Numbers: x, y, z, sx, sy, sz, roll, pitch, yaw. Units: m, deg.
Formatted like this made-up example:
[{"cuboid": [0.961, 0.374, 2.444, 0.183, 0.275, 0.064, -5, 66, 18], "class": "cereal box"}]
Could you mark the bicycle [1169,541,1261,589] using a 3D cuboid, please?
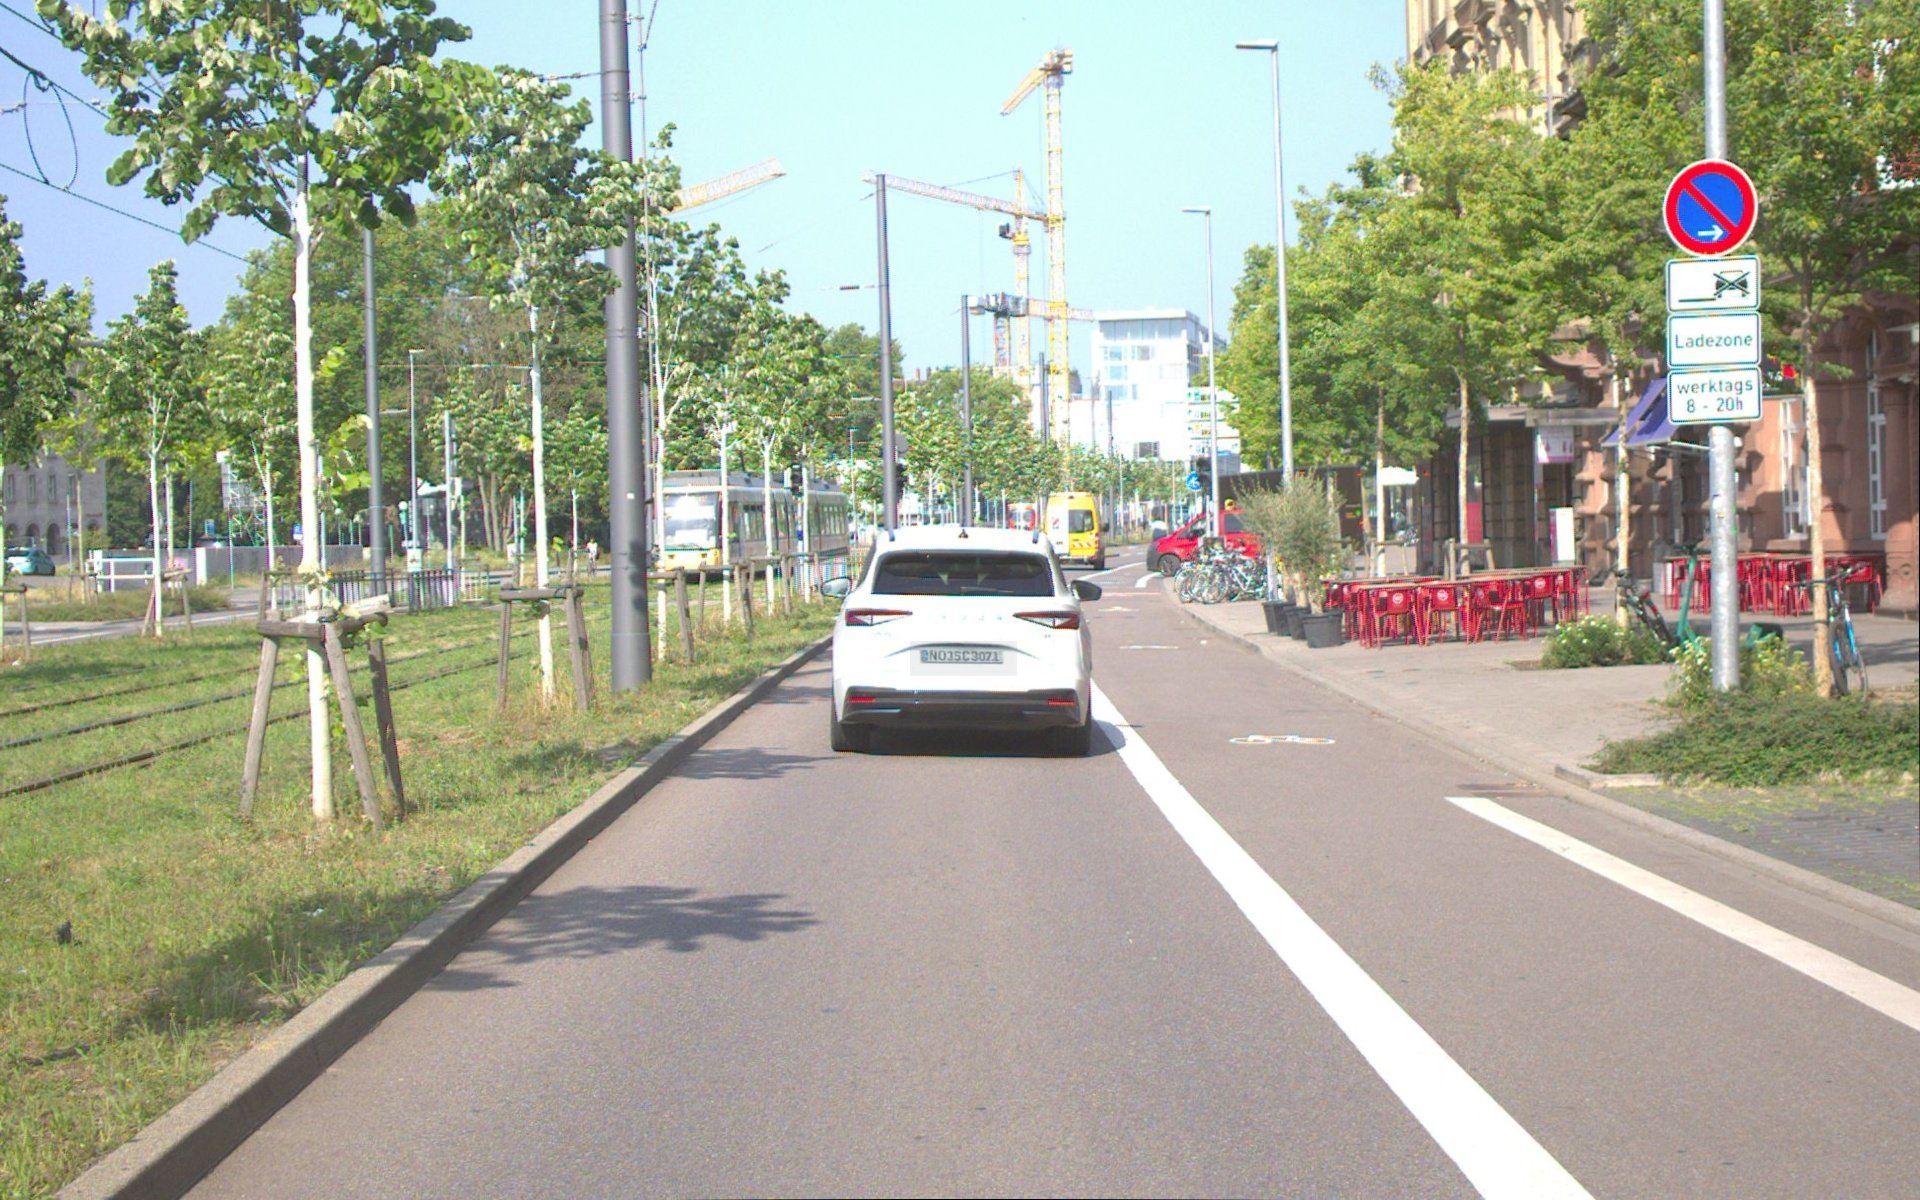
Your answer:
[{"cuboid": [5.518, -0.763, 74.460, 1.935, 0.942, 0.428, -3, 1, 5], "class": "bicycle"}]

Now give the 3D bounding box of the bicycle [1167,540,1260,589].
[{"cuboid": [5.439, -0.754, 73.635, 1.935, 0.942, 0.440, -3, 1, 5], "class": "bicycle"}]

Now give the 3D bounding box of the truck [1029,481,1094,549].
[{"cuboid": [3.615, -3.030, 122.089, 2.213, 2.310, 5.890, -1, 1, 2], "class": "truck"}]

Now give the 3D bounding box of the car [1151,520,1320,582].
[{"cuboid": [7.711, -1.368, 96.398, 4.365, 1.678, 1.995, 0, 2, 41], "class": "car"}]

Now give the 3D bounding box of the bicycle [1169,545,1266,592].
[{"cuboid": [5.320, -0.656, 71.060, 1.934, 0.871, 0.440, -3, 1, 2], "class": "bicycle"}]

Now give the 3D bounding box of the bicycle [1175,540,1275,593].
[{"cuboid": [5.382, -0.682, 69.746, 1.955, 0.983, 0.471, -3, 1, 2], "class": "bicycle"}]

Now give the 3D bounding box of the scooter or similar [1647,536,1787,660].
[{"cuboid": [7.472, -0.022, 33.954, 1.256, 1.153, 0.340, -3, 1, 4], "class": "scooter or similar"}]

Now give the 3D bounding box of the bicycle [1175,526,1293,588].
[{"cuboid": [5.405, -0.842, 67.902, 2.239, 1.100, 0.588, -3, 1, 2], "class": "bicycle"}]

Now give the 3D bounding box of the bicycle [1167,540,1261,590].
[{"cuboid": [5.405, -0.748, 73.157, 1.935, 0.942, 0.440, -3, 1, 5], "class": "bicycle"}]

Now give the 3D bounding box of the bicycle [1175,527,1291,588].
[{"cuboid": [5.432, -0.849, 68.457, 2.239, 1.100, 0.519, -3, 1, 2], "class": "bicycle"}]

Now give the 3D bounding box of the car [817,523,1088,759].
[{"cuboid": [-0.051, 0.231, 25.405, 1.817, 1.584, 4.407, 0, 1, 0], "class": "car"}]

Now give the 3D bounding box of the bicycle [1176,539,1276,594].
[{"cuboid": [5.354, -0.677, 69.267, 1.934, 0.983, 0.471, -3, 1, 2], "class": "bicycle"}]

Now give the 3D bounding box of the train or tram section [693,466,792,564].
[{"cuboid": [-8.408, -3.271, 134.358, 2.898, 3.574, 12.225, -1, 1, 0], "class": "train or tram section"}]

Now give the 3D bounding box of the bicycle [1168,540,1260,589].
[{"cuboid": [5.470, -0.758, 74.018, 1.935, 0.942, 0.428, -3, 1, 5], "class": "bicycle"}]

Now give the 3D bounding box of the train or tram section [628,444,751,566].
[{"cuboid": [-8.467, -2.941, 109.184, 2.898, 3.574, 12.478, -1, 1, 0], "class": "train or tram section"}]

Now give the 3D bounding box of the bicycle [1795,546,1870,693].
[{"cuboid": [6.859, 0.137, 26.993, 0.505, 1.056, 1.712, -3, 2, 15], "class": "bicycle"}]

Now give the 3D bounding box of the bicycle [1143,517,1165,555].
[{"cuboid": [7.849, -2.613, 139.325, 0.781, 1.491, 2.800, -1, 1, 2], "class": "bicycle"}]

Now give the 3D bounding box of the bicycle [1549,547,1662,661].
[{"cuboid": [6.592, 0.027, 35.193, 0.595, 1.118, 1.927, -1, 1, -6], "class": "bicycle"}]
